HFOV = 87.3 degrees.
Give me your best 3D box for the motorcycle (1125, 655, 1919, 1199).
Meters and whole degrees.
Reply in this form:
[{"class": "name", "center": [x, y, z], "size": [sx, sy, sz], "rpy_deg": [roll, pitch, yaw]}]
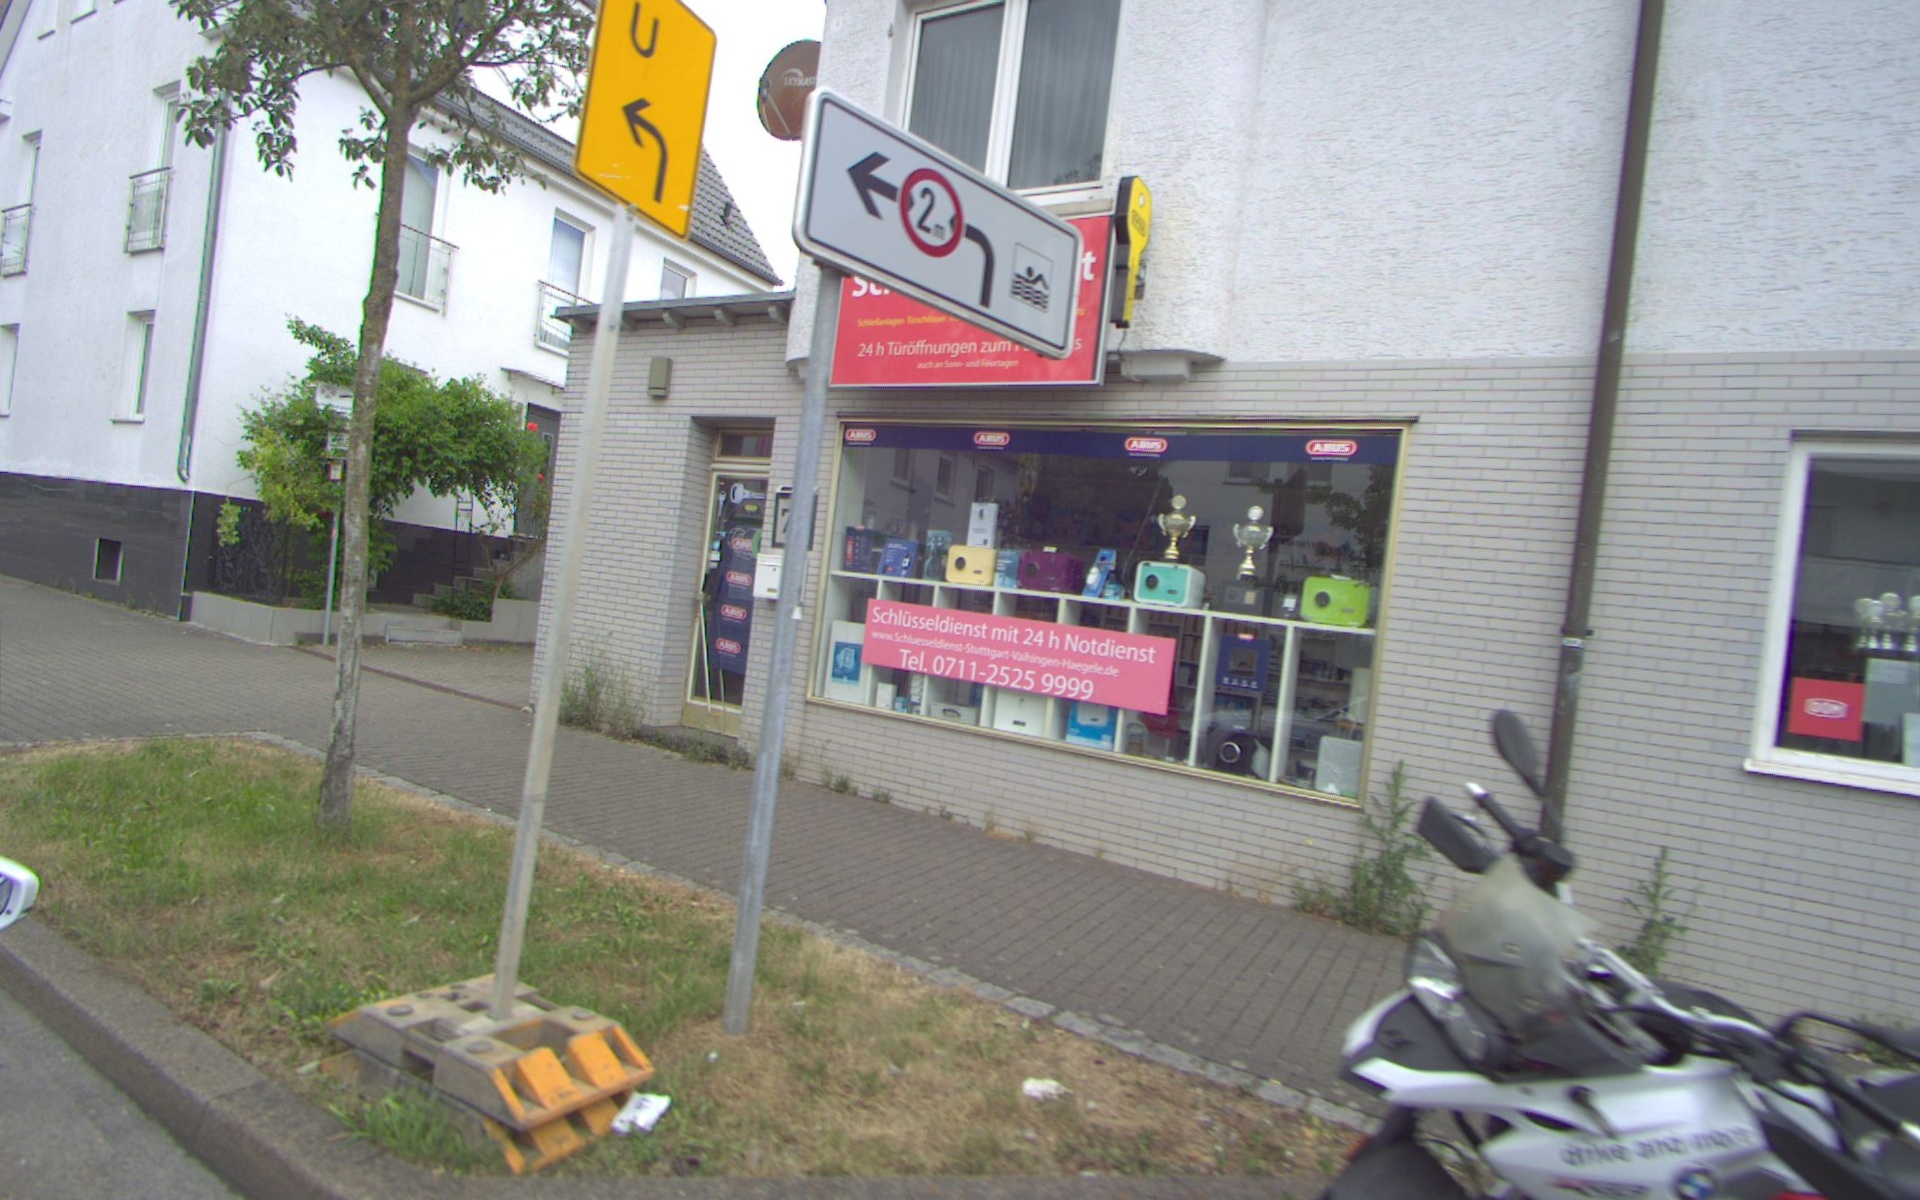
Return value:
[{"class": "motorcycle", "center": [1.538, 0.959, 1.890], "size": [2.204, 1.397, 0.775], "rpy_deg": [8, -1, -6]}]
